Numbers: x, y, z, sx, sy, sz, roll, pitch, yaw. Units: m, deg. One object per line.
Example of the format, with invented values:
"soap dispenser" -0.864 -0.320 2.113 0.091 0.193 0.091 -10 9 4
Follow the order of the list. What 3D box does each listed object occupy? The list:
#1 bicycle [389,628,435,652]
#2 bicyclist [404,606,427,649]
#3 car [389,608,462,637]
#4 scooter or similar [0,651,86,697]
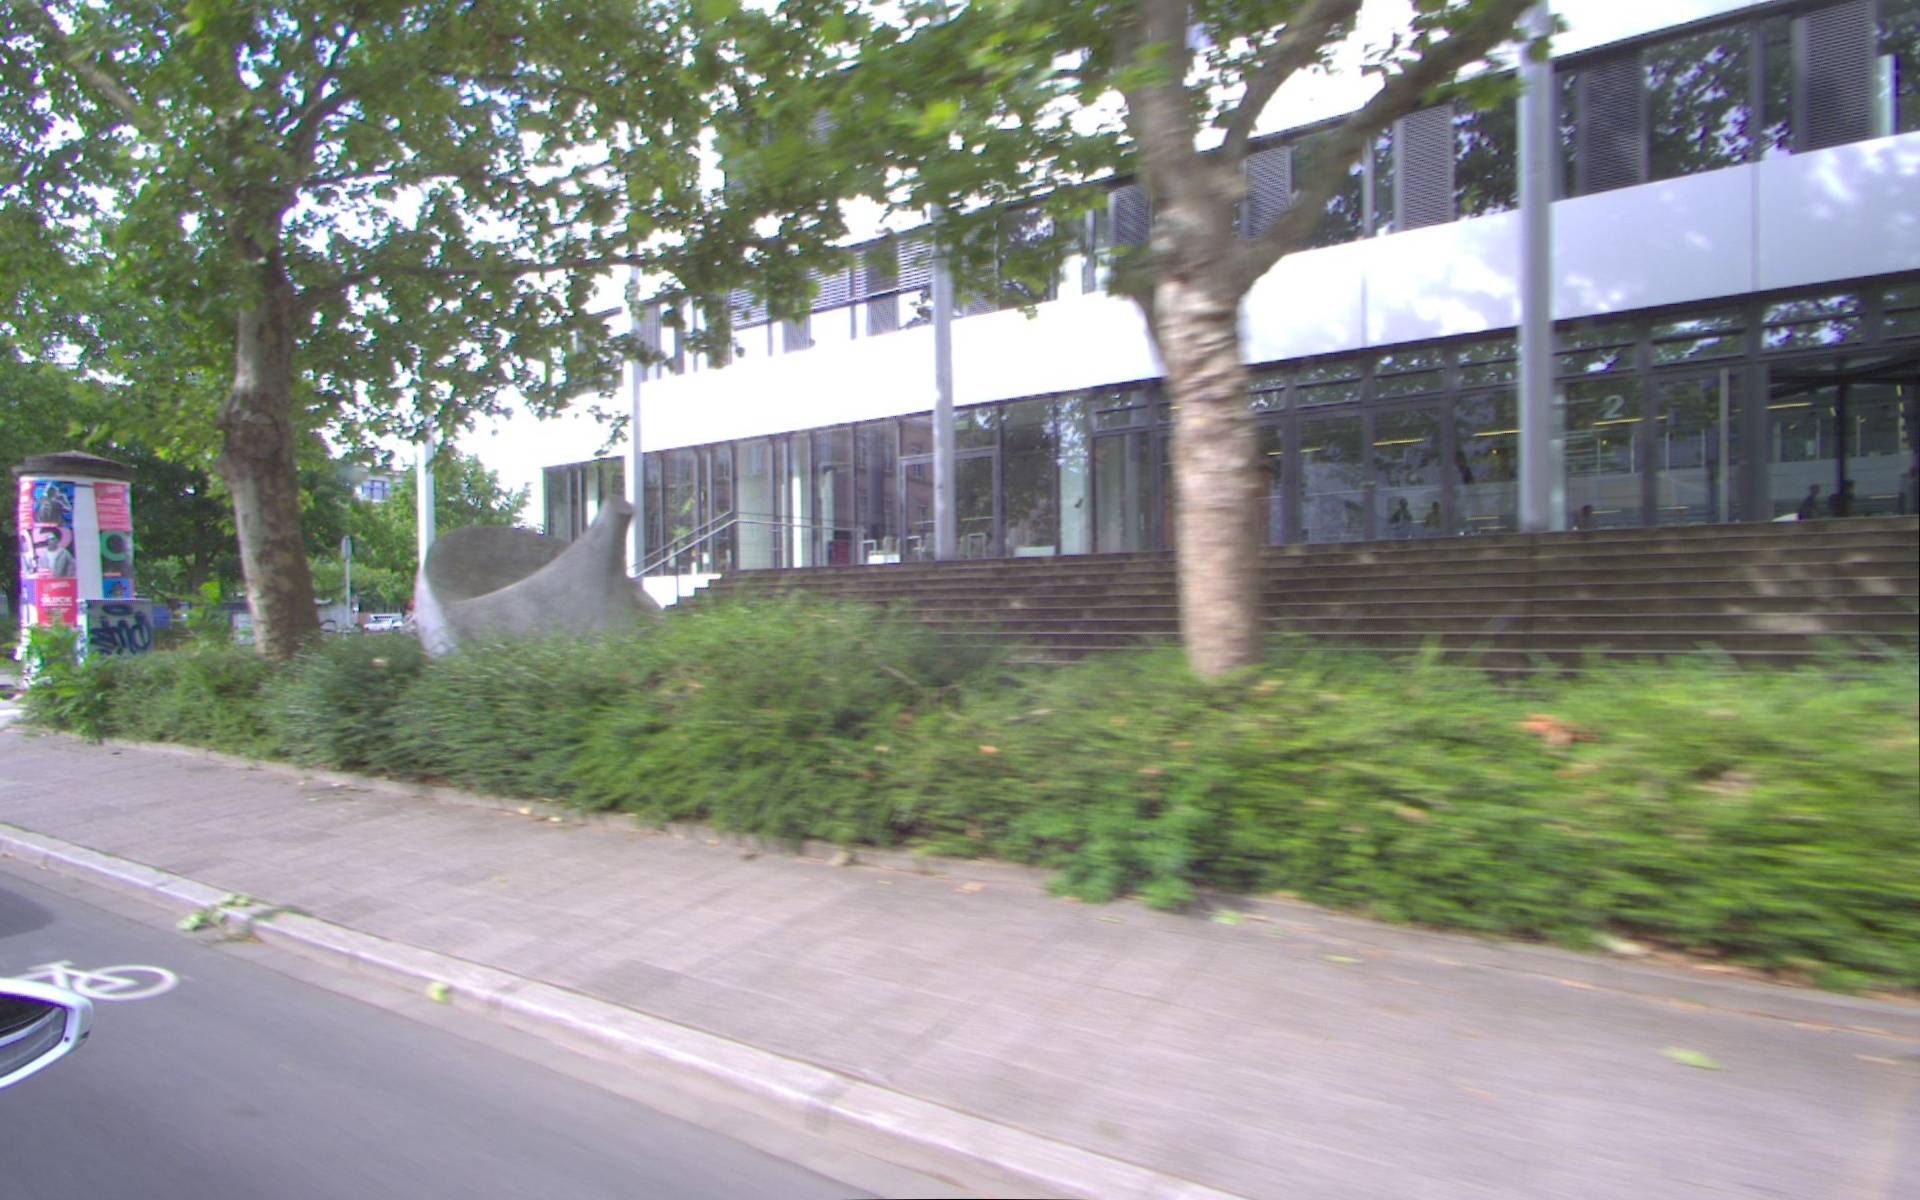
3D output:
"bicycle" -21.193 1.532 38.759 0.547 0.897 1.467 0 0 32
"bicyclist" -21.127 1.071 38.854 0.528 1.640 0.567 0 1 32
"car" -31.774 1.306 59.548 4.091 1.673 1.958 -1 0 30
"scooter or similar" -16.588 1.324 18.035 0.364 0.746 1.216 0 0 31
